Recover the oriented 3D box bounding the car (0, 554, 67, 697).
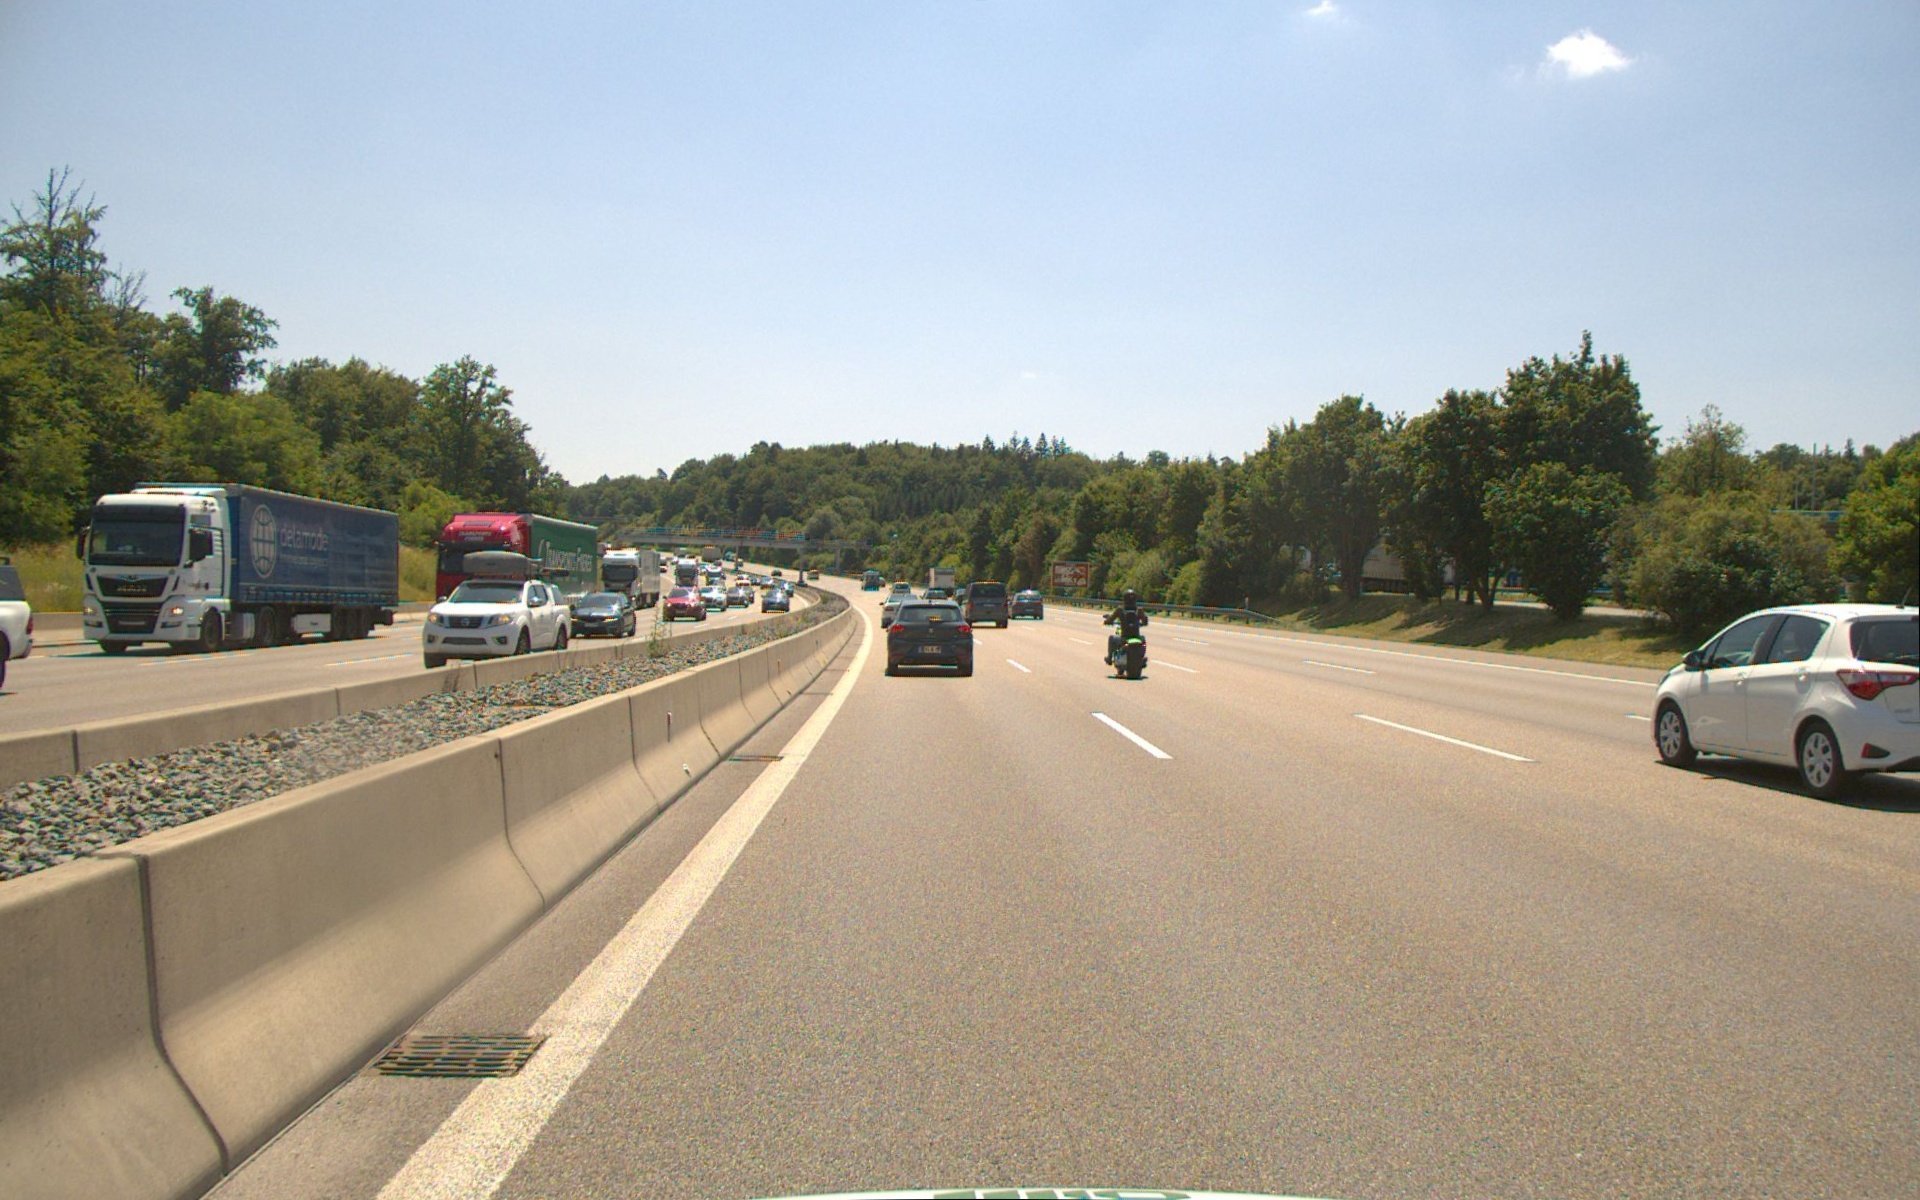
[{"bbox_3d":[-14.351,0.346,21.966,1.953,2.004,5.736,1,0,-1],"label":"car"}]

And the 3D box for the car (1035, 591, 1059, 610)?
[{"bbox_3d":[6.253,0.042,119.267,1.575,1.234,3.459,1,-1,0],"label":"car"}]

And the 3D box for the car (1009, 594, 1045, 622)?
[{"bbox_3d":[3.708,0.463,92.000,1.642,1.456,3.683,3,0,-2],"label":"car"}]

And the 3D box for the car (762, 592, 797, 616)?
[{"bbox_3d":[-11.686,0.248,107.089,1.954,1.575,4.878,0,0,-3],"label":"car"}]

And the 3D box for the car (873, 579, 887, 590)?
[{"bbox_3d":[-12.270,-2.415,253.360,1.954,1.601,3.999,3,1,-2],"label":"car"}]

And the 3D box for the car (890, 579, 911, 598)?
[{"bbox_3d":[-5.790,-1.155,160.598,1.954,1.713,4.422,3,1,-2],"label":"car"}]

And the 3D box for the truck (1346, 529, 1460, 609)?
[{"bbox_3d":[29.075,-1.922,109.468,3.259,4.914,14.694,1,0,-1],"label":"truck"}]

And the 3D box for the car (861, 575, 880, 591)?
[{"bbox_3d":[-12.423,-2.404,229.465,1.957,2.048,4.664,3,1,-10],"label":"car"}]

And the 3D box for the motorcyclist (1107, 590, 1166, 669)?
[{"bbox_3d":[3.352,0.547,31.564,0.943,1.463,1.234,1,0,-2],"label":"motorcyclist"}]

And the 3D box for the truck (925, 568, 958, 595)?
[{"bbox_3d":[-2.139,-2.081,187.674,2.677,2.834,5.670,3,1,-10],"label":"truck"}]

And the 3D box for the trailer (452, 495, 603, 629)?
[{"bbox_3d":[-15.998,-1.367,62.398,2.451,4.427,14.296,1,1,-2],"label":"trailer"}]

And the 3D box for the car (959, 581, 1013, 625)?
[{"bbox_3d":[1.147,0.133,73.913,2.056,1.884,4.078,1,0,-4],"label":"car"}]

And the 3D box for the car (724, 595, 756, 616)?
[{"bbox_3d":[-16.583,0.392,124.962,1.984,1.575,4.878,0,0,-3],"label":"car"}]

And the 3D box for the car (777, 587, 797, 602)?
[{"bbox_3d":[-18.200,-0.552,174.094,1.949,1.575,4.873,0,0,-7],"label":"car"}]

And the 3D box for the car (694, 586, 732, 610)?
[{"bbox_3d":[-16.431,-0.155,110.169,1.953,1.575,4.879,0,0,-2],"label":"car"}]

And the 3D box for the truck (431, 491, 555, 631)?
[{"bbox_3d":[-15.682,-1.287,55.988,2.451,4.427,6.603,1,1,-2],"label":"truck"}]

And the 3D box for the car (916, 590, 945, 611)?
[{"bbox_3d":[-2.032,0.021,112.692,1.805,1.243,4.222,3,1,-2],"label":"car"}]

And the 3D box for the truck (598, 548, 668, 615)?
[{"bbox_3d":[-23.104,-1.227,117.705,2.843,4.427,16.540,1,0,-4],"label":"truck"}]

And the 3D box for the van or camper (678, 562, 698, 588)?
[{"bbox_3d":[-33.656,-3.131,204.721,2.272,2.819,7.151,3,2,-9],"label":"van or camper"}]

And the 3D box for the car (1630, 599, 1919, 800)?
[{"bbox_3d":[7.409,0.729,14.203,1.632,1.458,4.376,1,0,1],"label":"car"}]

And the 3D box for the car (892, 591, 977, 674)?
[{"bbox_3d":[-0.547,0.612,32.930,1.592,1.513,3.684,1,1,-2],"label":"car"}]

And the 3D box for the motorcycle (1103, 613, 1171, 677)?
[{"bbox_3d":[3.368,0.846,31.651,0.958,1.149,2.270,1,0,-2],"label":"motorcycle"}]

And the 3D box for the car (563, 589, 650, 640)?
[{"bbox_3d":[-11.695,0.451,55.016,1.953,1.575,4.880,1,0,-1],"label":"car"}]

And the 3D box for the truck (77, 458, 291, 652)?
[{"bbox_3d":[-19.148,-1.032,41.285,2.451,4.427,6.601,1,0,-3],"label":"truck"}]

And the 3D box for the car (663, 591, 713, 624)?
[{"bbox_3d":[-13.542,0.355,82.566,1.954,1.575,4.878,0,0,-3],"label":"car"}]

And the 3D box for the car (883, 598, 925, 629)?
[{"bbox_3d":[-2.465,0.555,71.764,1.747,1.287,3.457,0,0,-3],"label":"car"}]

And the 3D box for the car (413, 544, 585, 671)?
[{"bbox_3d":[-9.160,0.136,33.414,1.953,2.329,5.763,1,0,-1],"label":"car"}]

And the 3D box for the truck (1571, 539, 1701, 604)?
[{"bbox_3d":[40.286,-1.652,99.044,3.259,3.627,10.550,1,0,-1],"label":"truck"}]

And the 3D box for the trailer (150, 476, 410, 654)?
[{"bbox_3d":[-19.442,-0.964,48.588,2.451,4.427,13.691,1,1,-2],"label":"trailer"}]
